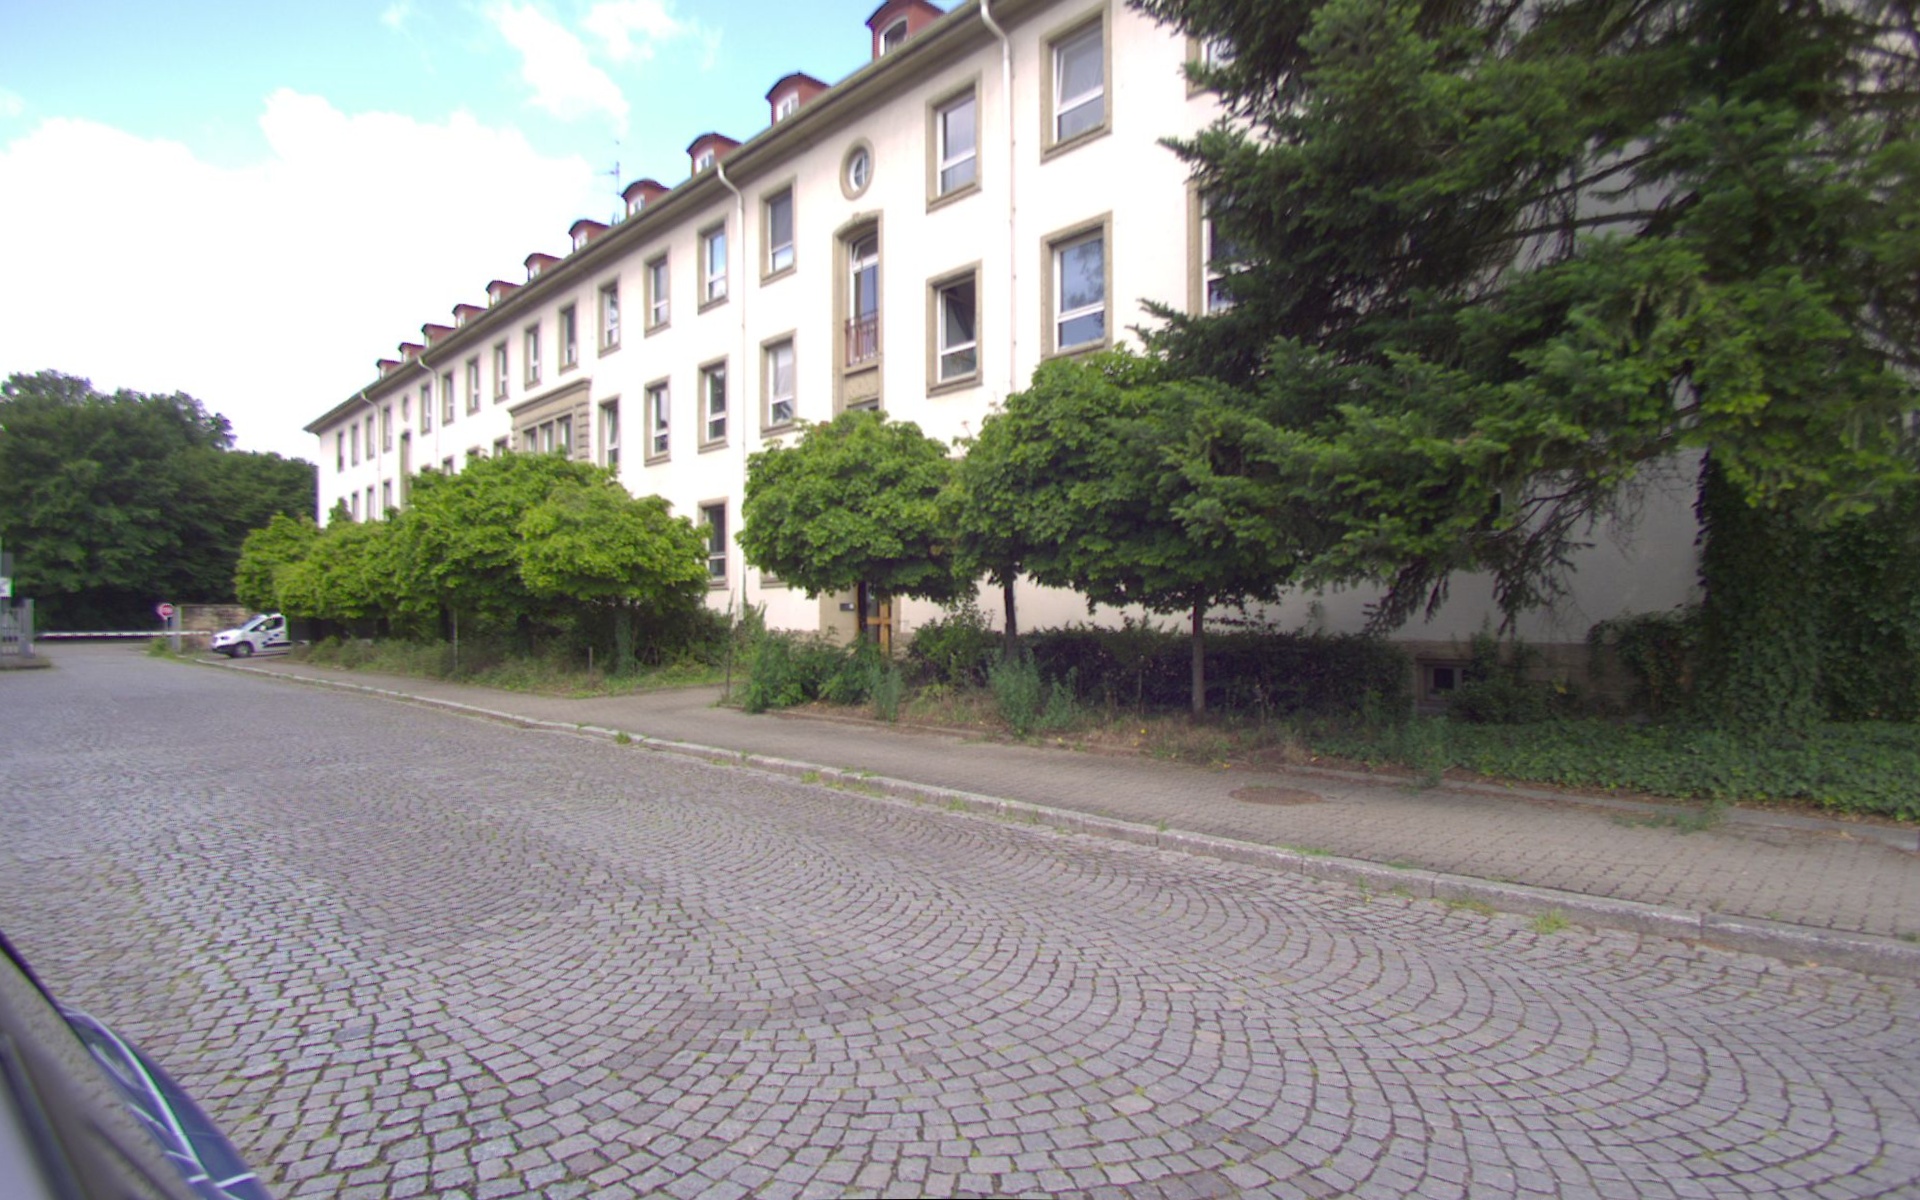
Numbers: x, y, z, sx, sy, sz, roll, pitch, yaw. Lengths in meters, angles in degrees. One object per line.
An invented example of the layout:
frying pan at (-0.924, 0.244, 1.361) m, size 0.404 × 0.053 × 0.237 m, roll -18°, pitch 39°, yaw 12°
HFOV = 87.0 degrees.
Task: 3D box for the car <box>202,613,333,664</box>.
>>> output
car at (-29.465, 1.594, 43.130) m, size 1.821 × 1.819 × 4.254 m, roll -1°, pitch 2°, yaw 43°
